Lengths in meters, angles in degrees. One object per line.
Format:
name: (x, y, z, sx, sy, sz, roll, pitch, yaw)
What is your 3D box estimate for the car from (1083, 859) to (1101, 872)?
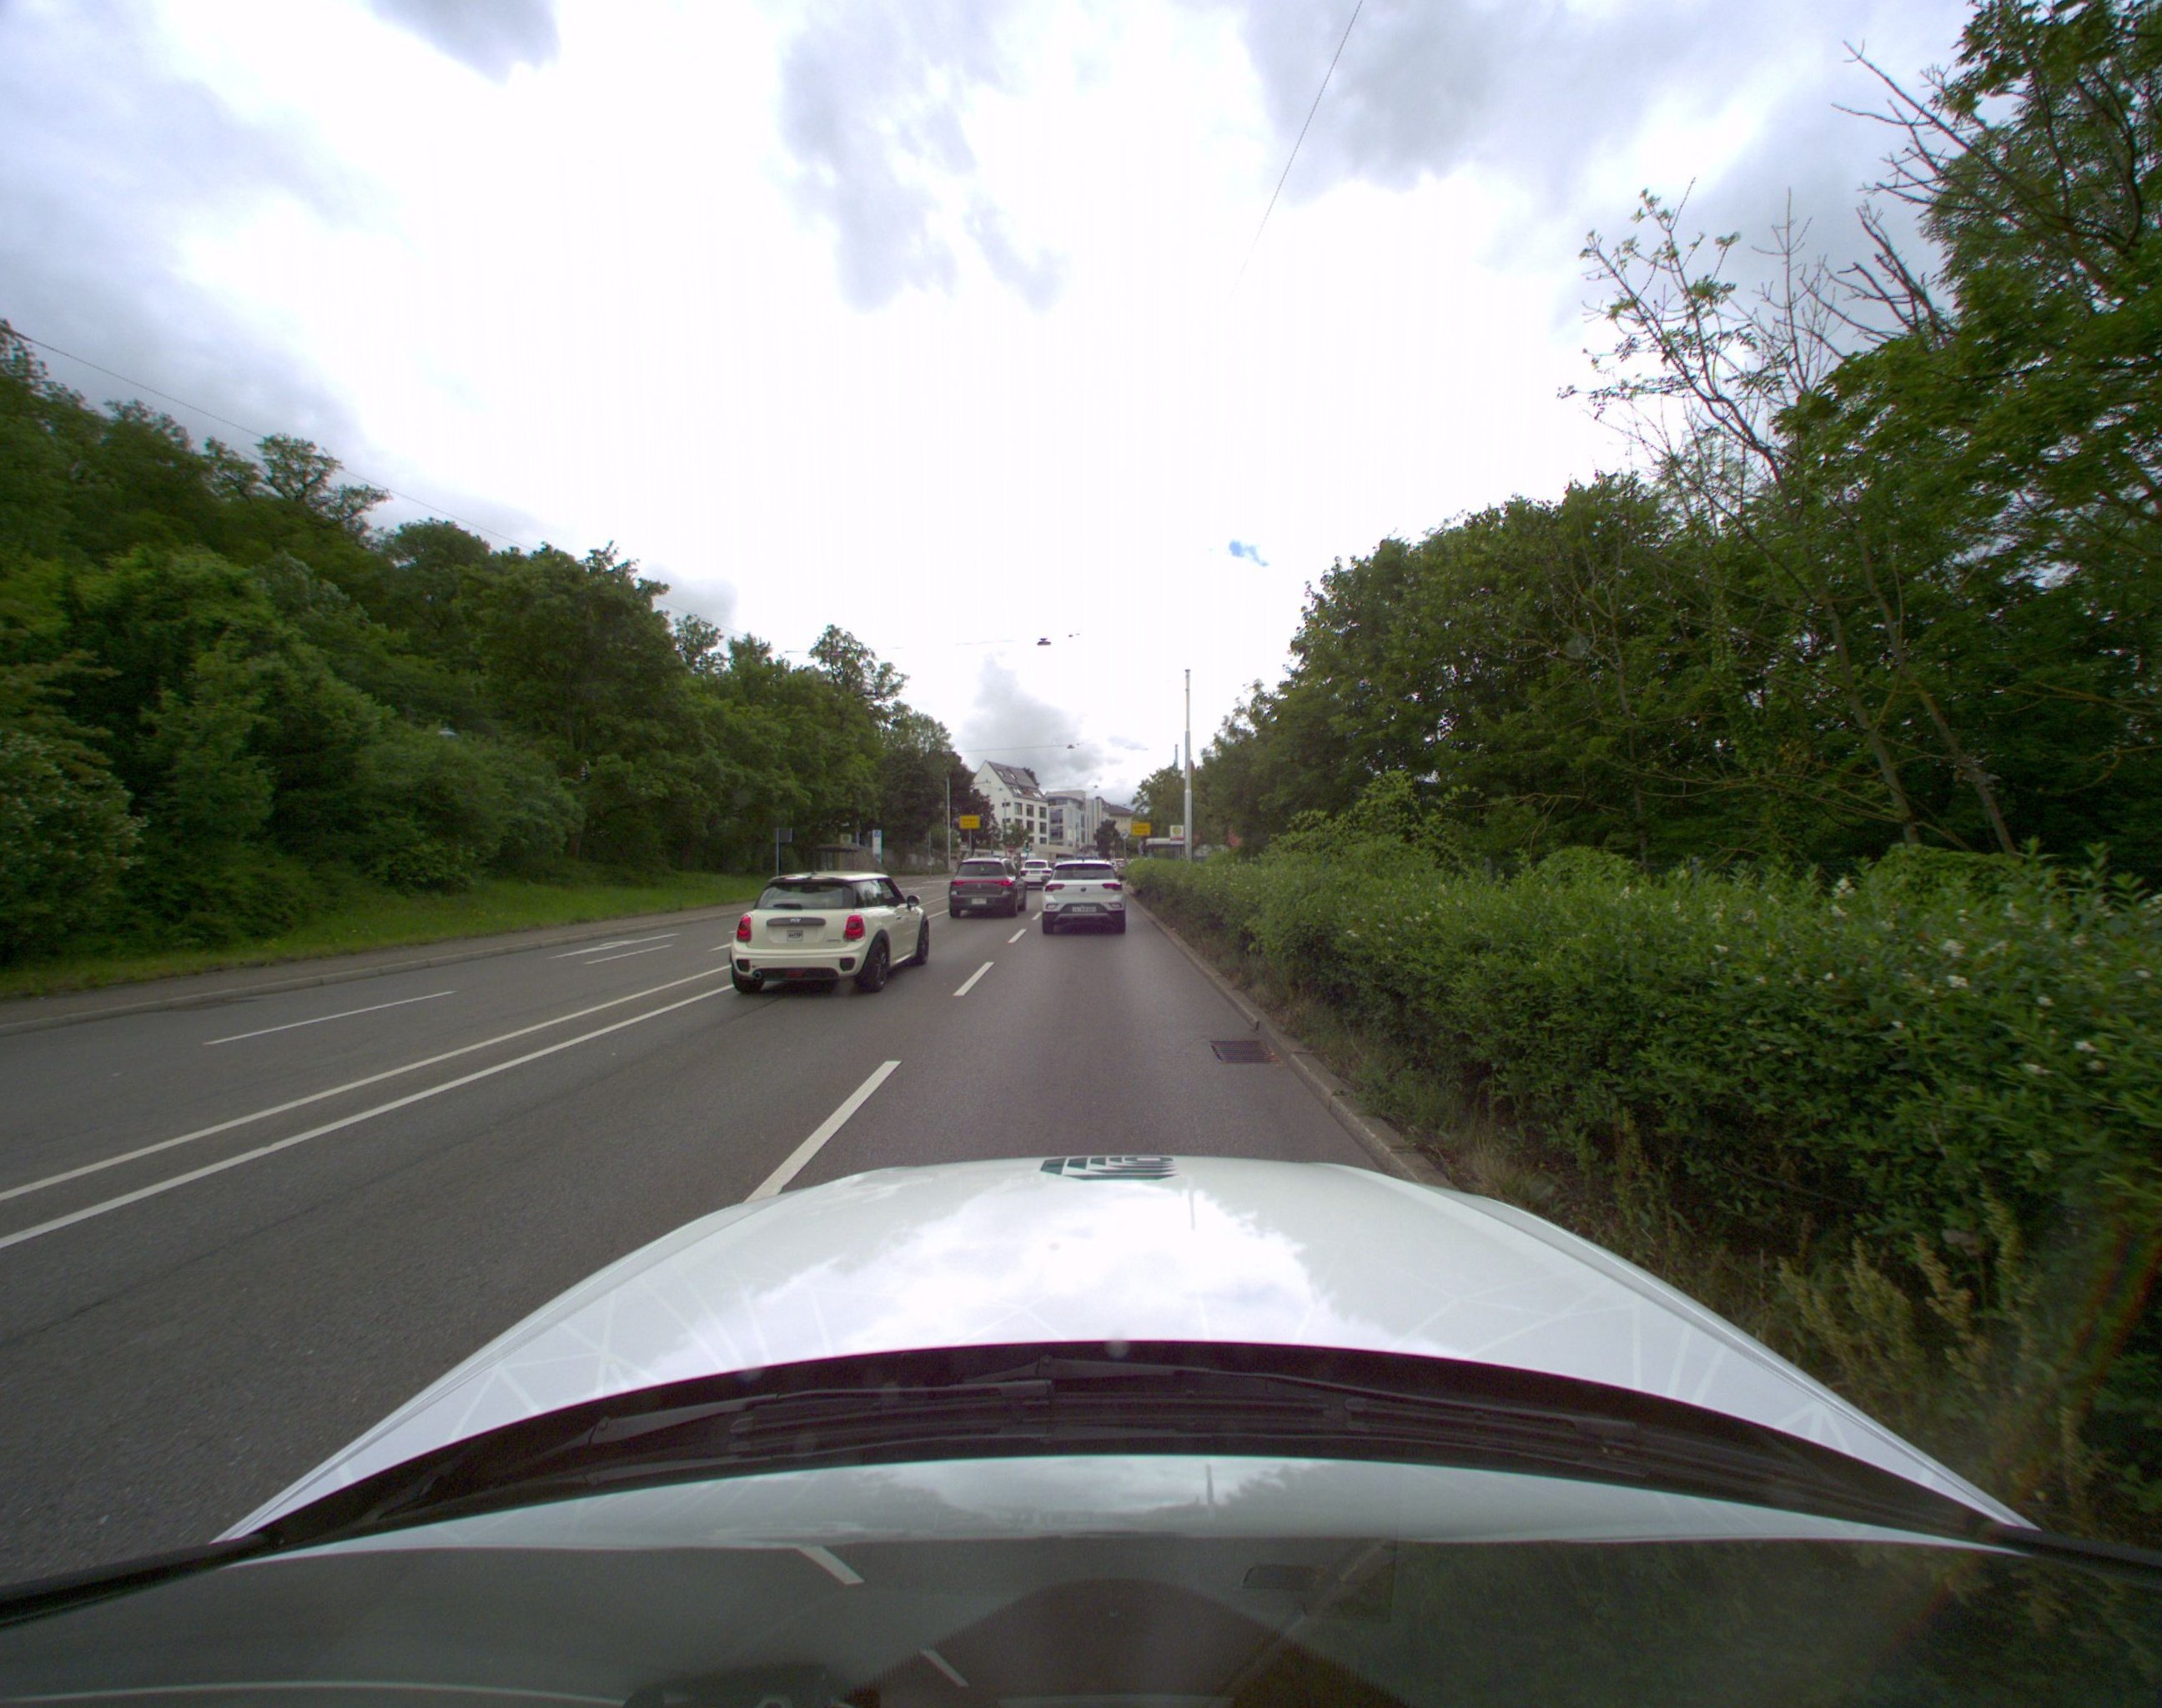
car: (1.422, 1.456, 100.645, 1.849, 1.500, 4.061, -2, -1, 5)

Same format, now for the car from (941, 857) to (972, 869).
car: (-16.923, 1.159, 110.655, 4.121, 1.540, 1.592, -1, -1, -11)

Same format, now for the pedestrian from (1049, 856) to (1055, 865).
pedestrian: (-5.235, 1.100, 147.185, 0.678, 1.640, 0.665, 1, 0, -32)

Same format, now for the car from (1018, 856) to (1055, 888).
car: (-2.420, 0.986, 45.271, 1.852, 1.652, 4.634, -2, -1, -1)

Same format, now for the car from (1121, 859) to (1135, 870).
car: (6.926, 1.587, 120.665, 1.849, 1.500, 4.061, -2, -1, 5)

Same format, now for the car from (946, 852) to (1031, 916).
car: (-2.575, 0.806, 23.759, 1.806, 1.652, 4.637, -2, -1, 1)

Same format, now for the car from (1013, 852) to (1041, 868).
car: (-8.828, 0.978, 133.897, 2.214, 2.568, 7.454, -1, -1, 17)

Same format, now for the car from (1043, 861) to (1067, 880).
car: (-2.139, 1.328, 67.859, 1.852, 1.500, 4.054, -2, -1, -1)

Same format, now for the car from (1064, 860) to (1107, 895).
car: (0.190, 1.054, 38.045, 1.852, 1.500, 4.054, -2, -1, -1)

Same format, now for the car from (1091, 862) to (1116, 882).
car: (1.849, 1.508, 69.083, 1.867, 1.501, 4.553, 2, -1, -1)

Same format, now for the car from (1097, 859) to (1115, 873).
car: (2.726, 1.308, 89.936, 1.852, 1.500, 4.054, -2, -1, -1)

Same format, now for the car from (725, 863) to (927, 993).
car: (-3.192, 0.847, 10.901, 1.623, 1.393, 3.563, -2, -1, -2)

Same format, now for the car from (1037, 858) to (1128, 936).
car: (0.022, 0.885, 18.352, 1.806, 1.539, 3.688, -2, -1, -1)

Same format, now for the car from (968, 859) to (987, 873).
car: (-11.194, 1.289, 88.411, 1.725, 1.541, 4.039, 0, -1, -2)

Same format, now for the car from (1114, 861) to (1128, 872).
car: (6.176, 1.899, 125.778, 1.848, 1.500, 4.064, -2, -1, 7)
